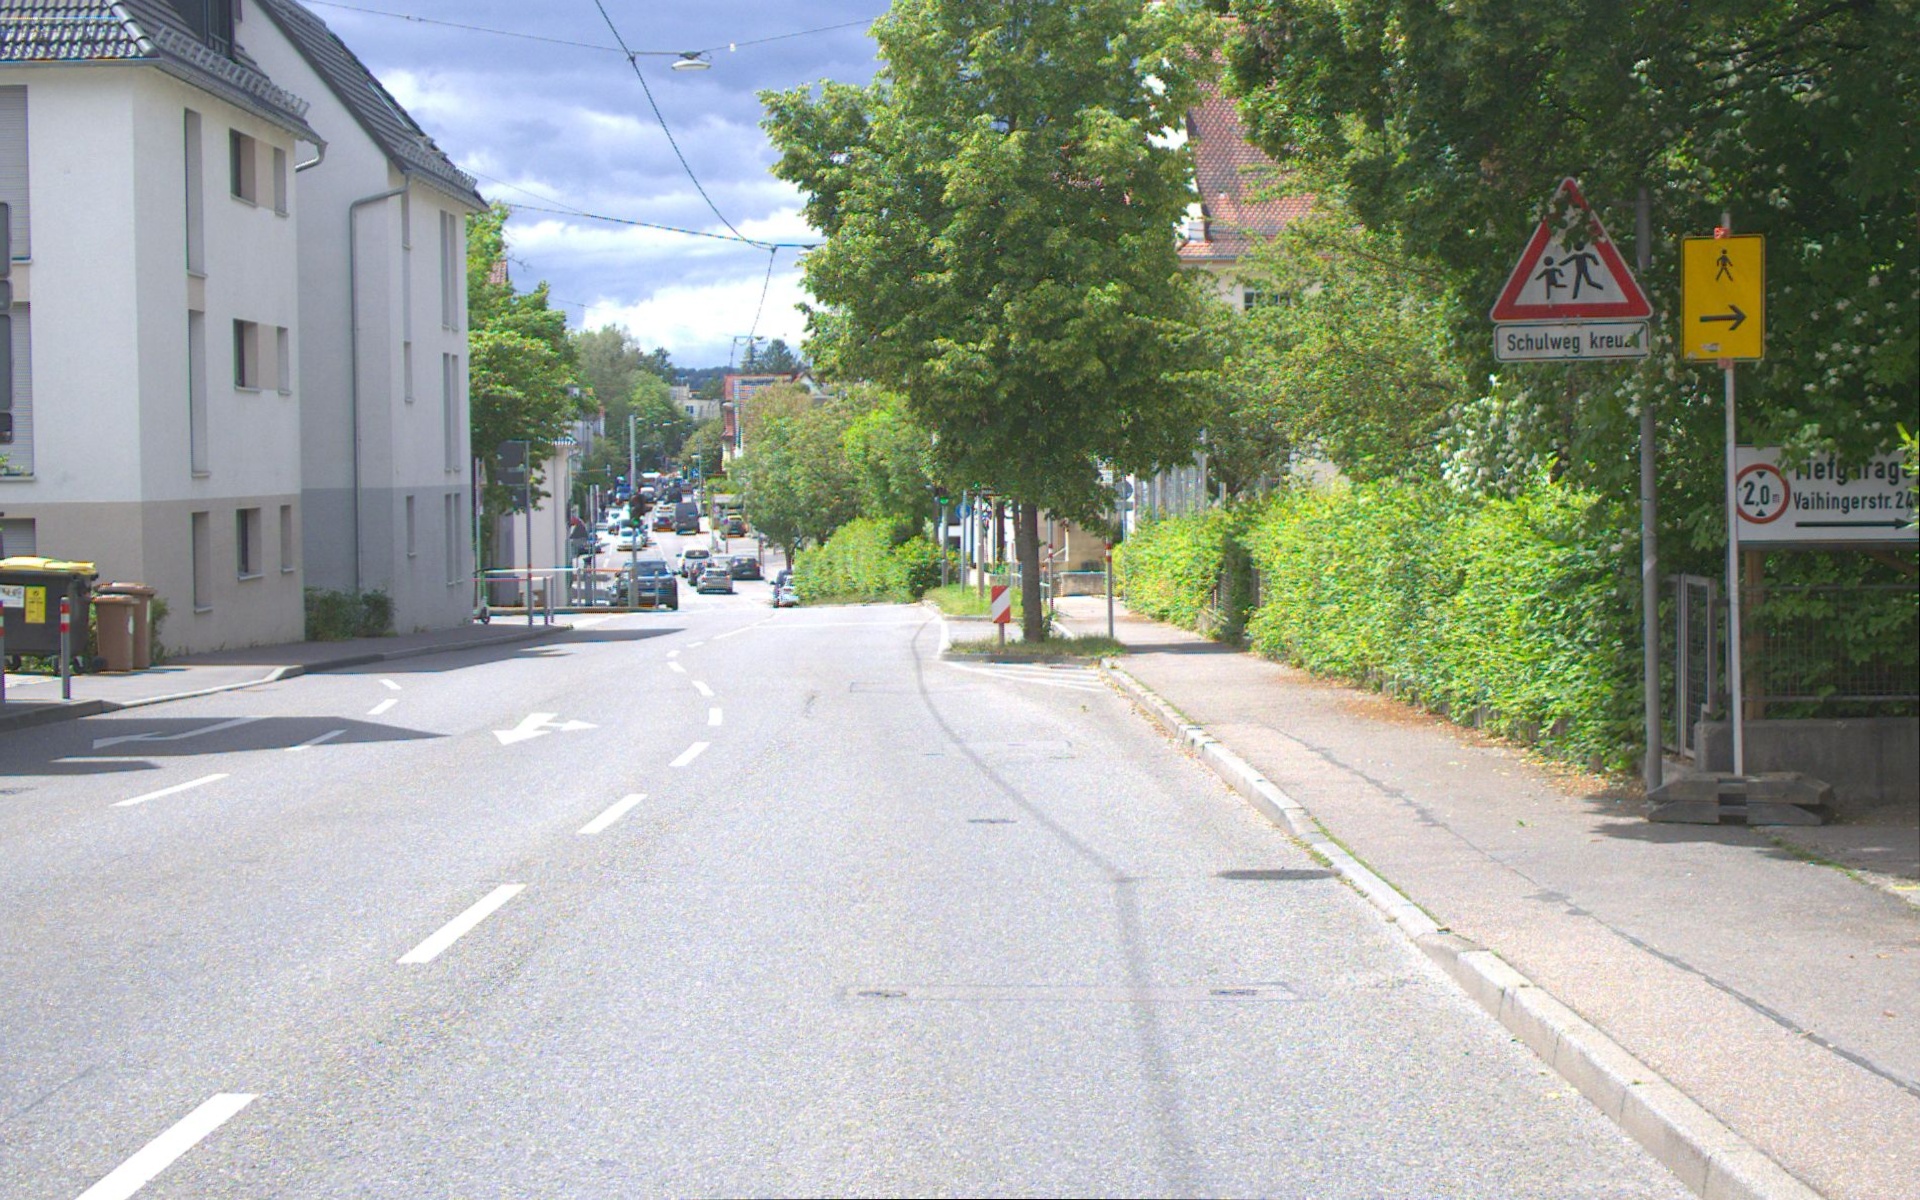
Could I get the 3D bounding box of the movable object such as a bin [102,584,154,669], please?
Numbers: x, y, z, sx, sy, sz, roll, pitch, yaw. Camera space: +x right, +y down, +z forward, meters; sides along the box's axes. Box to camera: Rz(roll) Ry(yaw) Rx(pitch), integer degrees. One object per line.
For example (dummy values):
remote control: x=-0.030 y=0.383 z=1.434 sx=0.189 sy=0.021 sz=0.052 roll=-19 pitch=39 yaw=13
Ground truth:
movable object such as a bin: x=-10.231 y=0.323 z=42.273 sx=0.531 sy=1.026 sz=0.455 roll=-1 pitch=1 yaw=-2

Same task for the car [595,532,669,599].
car: x=-10.229 y=-1.082 z=106.968 sx=1.993 sy=2.007 sz=4.001 roll=-1 pitch=1 yaw=-9

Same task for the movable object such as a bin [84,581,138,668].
movable object such as a bin: x=-10.264 y=0.293 z=41.562 sx=0.531 sy=1.026 sz=0.455 roll=-1 pitch=1 yaw=-2

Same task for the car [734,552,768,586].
car: x=-12.774 y=-1.885 z=210.094 sx=1.993 sy=2.007 sz=4.001 roll=-1 pitch=0 yaw=-4

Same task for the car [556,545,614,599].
car: x=-14.439 y=-1.094 z=132.185 sx=1.993 sy=2.007 sz=4.001 roll=-1 pitch=1 yaw=-9

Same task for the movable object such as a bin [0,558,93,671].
movable object such as a bin: x=-10.935 y=0.164 z=40.499 sx=1.281 sy=1.305 sz=0.816 roll=-1 pitch=1 yaw=-6

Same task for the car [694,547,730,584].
car: x=-14.046 y=-1.951 z=194.391 sx=1.993 sy=2.007 sz=4.001 roll=-1 pitch=0 yaw=-4
